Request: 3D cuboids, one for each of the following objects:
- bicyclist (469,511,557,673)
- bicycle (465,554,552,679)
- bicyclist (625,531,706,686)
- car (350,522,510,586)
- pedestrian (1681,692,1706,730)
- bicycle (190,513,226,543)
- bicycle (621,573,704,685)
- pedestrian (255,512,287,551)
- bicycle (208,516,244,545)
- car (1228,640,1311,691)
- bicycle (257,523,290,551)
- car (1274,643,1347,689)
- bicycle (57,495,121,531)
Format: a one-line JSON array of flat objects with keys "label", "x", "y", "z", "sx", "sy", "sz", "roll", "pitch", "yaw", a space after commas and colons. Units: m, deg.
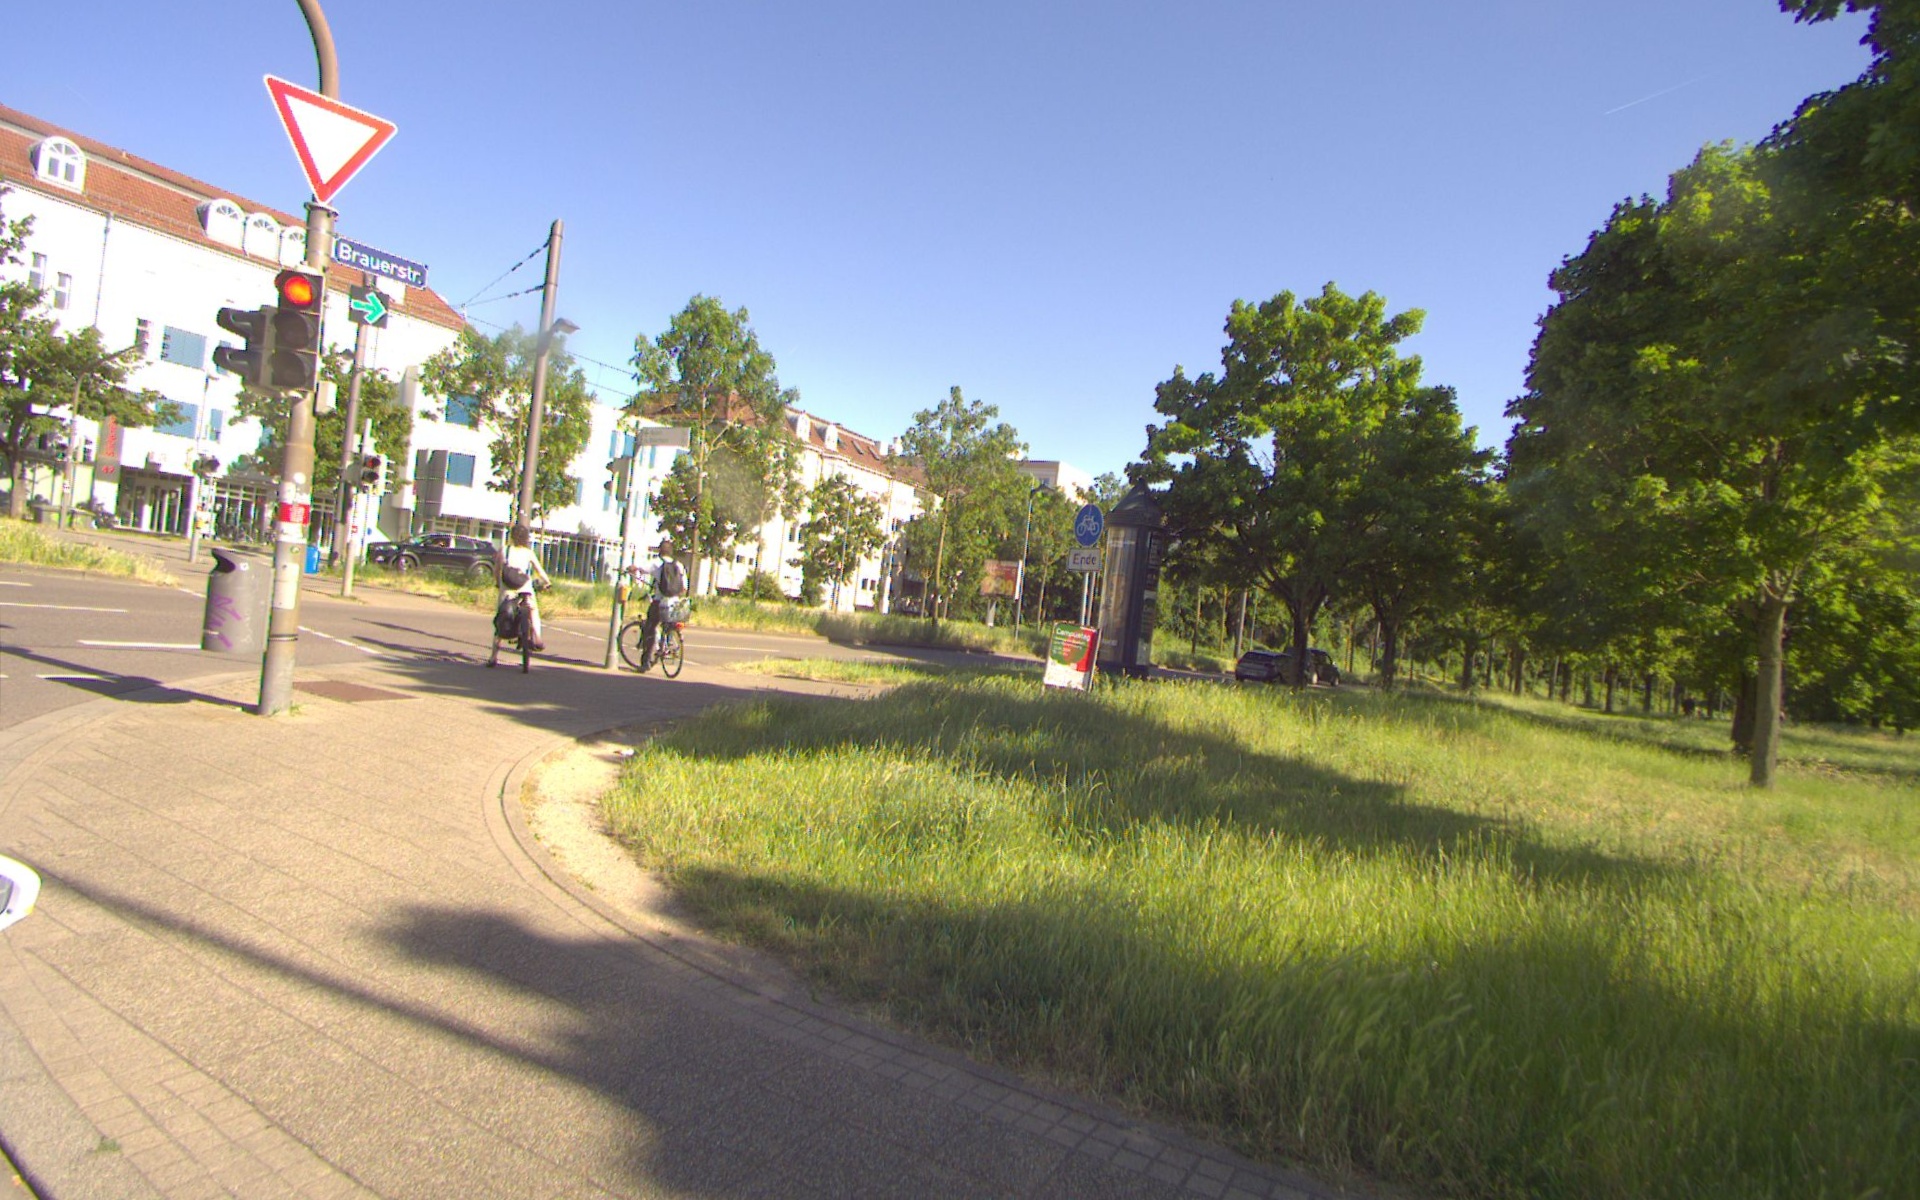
[{"label": "bicyclist", "x": -5.520, "y": -0.107, "z": 12.497, "sx": 0.782, "sy": 1.847, "sz": 1.129, "roll": 6, "pitch": 1, "yaw": -22}, {"label": "bicycle", "x": -5.590, "y": 0.163, "z": 12.566, "sx": 0.782, "sy": 1.364, "sz": 2.068, "roll": 6, "pitch": 0, "yaw": -22}, {"label": "bicyclist", "x": -4.069, "y": 0.103, "z": 13.845, "sx": 0.782, "sy": 1.983, "sz": 1.006, "roll": 6, "pitch": 1, "yaw": -22}, {"label": "car", "x": -18.681, "y": -1.589, "z": 35.605, "sx": 1.971, "sy": 1.629, "sz": 4.498, "roll": 7, "pitch": -1, "yaw": 39}, {"label": "pedestrian", "x": 35.673, "y": 5.397, "z": 48.934, "sx": 0.727, "sy": 1.748, "sz": 0.887, "roll": 7, "pitch": 1, "yaw": 33}, {"label": "bicycle", "x": -34.973, "y": -3.363, "z": 46.770, "sx": 1.837, "sy": 1.197, "sz": 0.561, "roll": 7, "pitch": 1, "yaw": 29}, {"label": "bicycle", "x": -4.225, "y": 0.355, "z": 14.160, "sx": 0.782, "sy": 1.364, "sz": 2.251, "roll": 6, "pitch": 0, "yaw": -22}, {"label": "pedestrian", "x": -34.361, "y": -3.408, "z": 50.172, "sx": 0.643, "sy": 1.745, "sz": 0.991, "roll": 7, "pitch": 1, "yaw": 29}, {"label": "bicycle", "x": -34.795, "y": -3.294, "z": 47.705, "sx": 1.837, "sy": 1.197, "sz": 0.561, "roll": 7, "pitch": 1, "yaw": 29}, {"label": "car", "x": 12.804, "y": 2.743, "z": 41.521, "sx": 1.671, "sy": 1.595, "sz": 3.856, "roll": 6, "pitch": -4, "yaw": 42}, {"label": "bicycle", "x": -33.522, "y": -3.084, "z": 49.128, "sx": 1.839, "sy": 1.197, "sz": 0.561, "roll": 7, "pitch": 1, "yaw": 32}, {"label": "car", "x": 18.320, "y": 3.448, "z": 52.490, "sx": 1.742, "sy": 1.820, "sz": 4.476, "roll": 6, "pitch": -4, "yaw": 45}, {"label": "bicycle", "x": -36.360, "y": -3.616, "z": 42.003, "sx": 0.552, "sy": 1.197, "sz": 1.868, "roll": 7, "pitch": 0, "yaw": 26}]
